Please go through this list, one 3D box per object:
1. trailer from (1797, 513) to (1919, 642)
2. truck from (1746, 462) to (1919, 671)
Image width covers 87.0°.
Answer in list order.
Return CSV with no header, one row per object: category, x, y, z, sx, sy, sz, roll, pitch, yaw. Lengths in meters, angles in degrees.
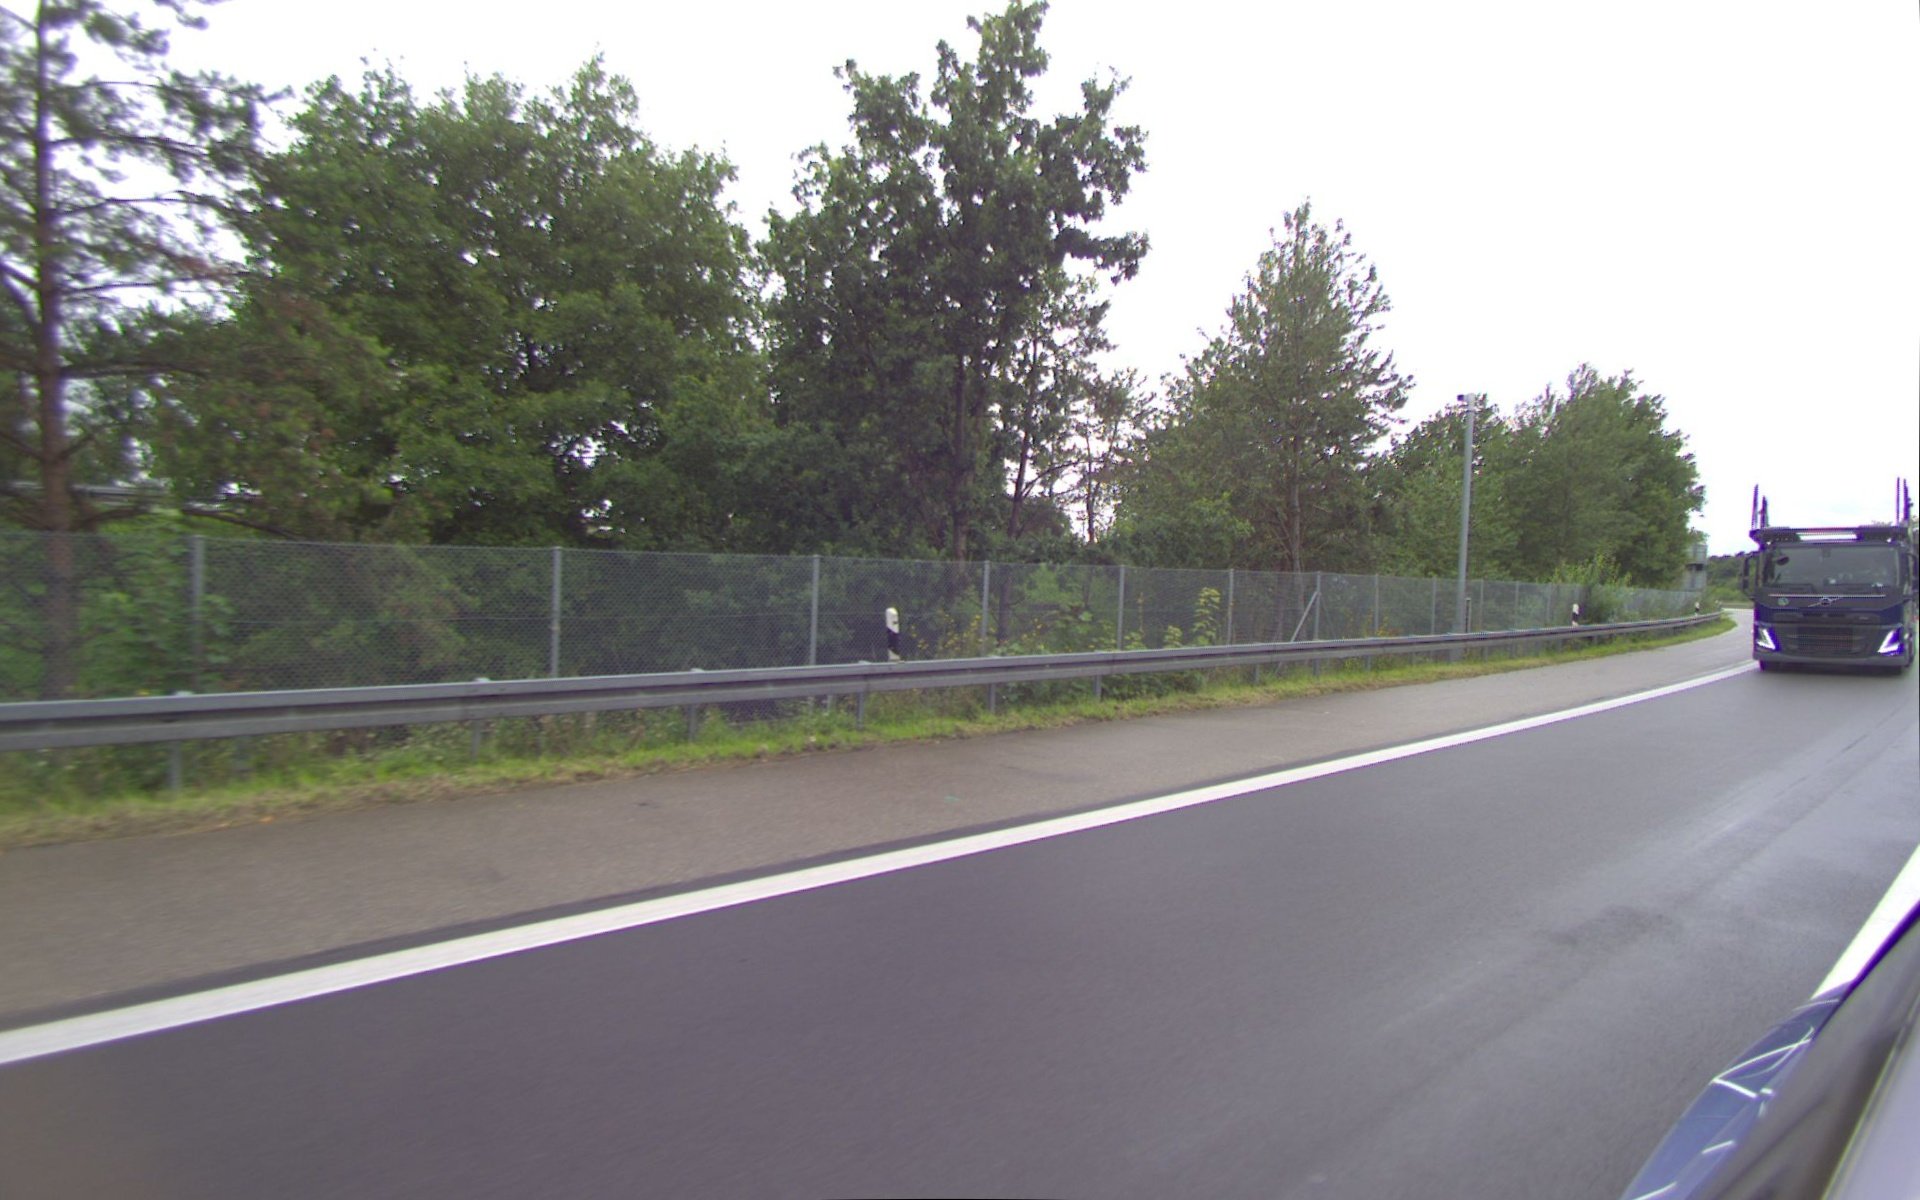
trailer,27.486,-0.608,30.392,2.778,3.326,10.240,2,1,44
truck,20.733,-0.635,23.506,8.978,4.018,2.740,0,-1,-45
